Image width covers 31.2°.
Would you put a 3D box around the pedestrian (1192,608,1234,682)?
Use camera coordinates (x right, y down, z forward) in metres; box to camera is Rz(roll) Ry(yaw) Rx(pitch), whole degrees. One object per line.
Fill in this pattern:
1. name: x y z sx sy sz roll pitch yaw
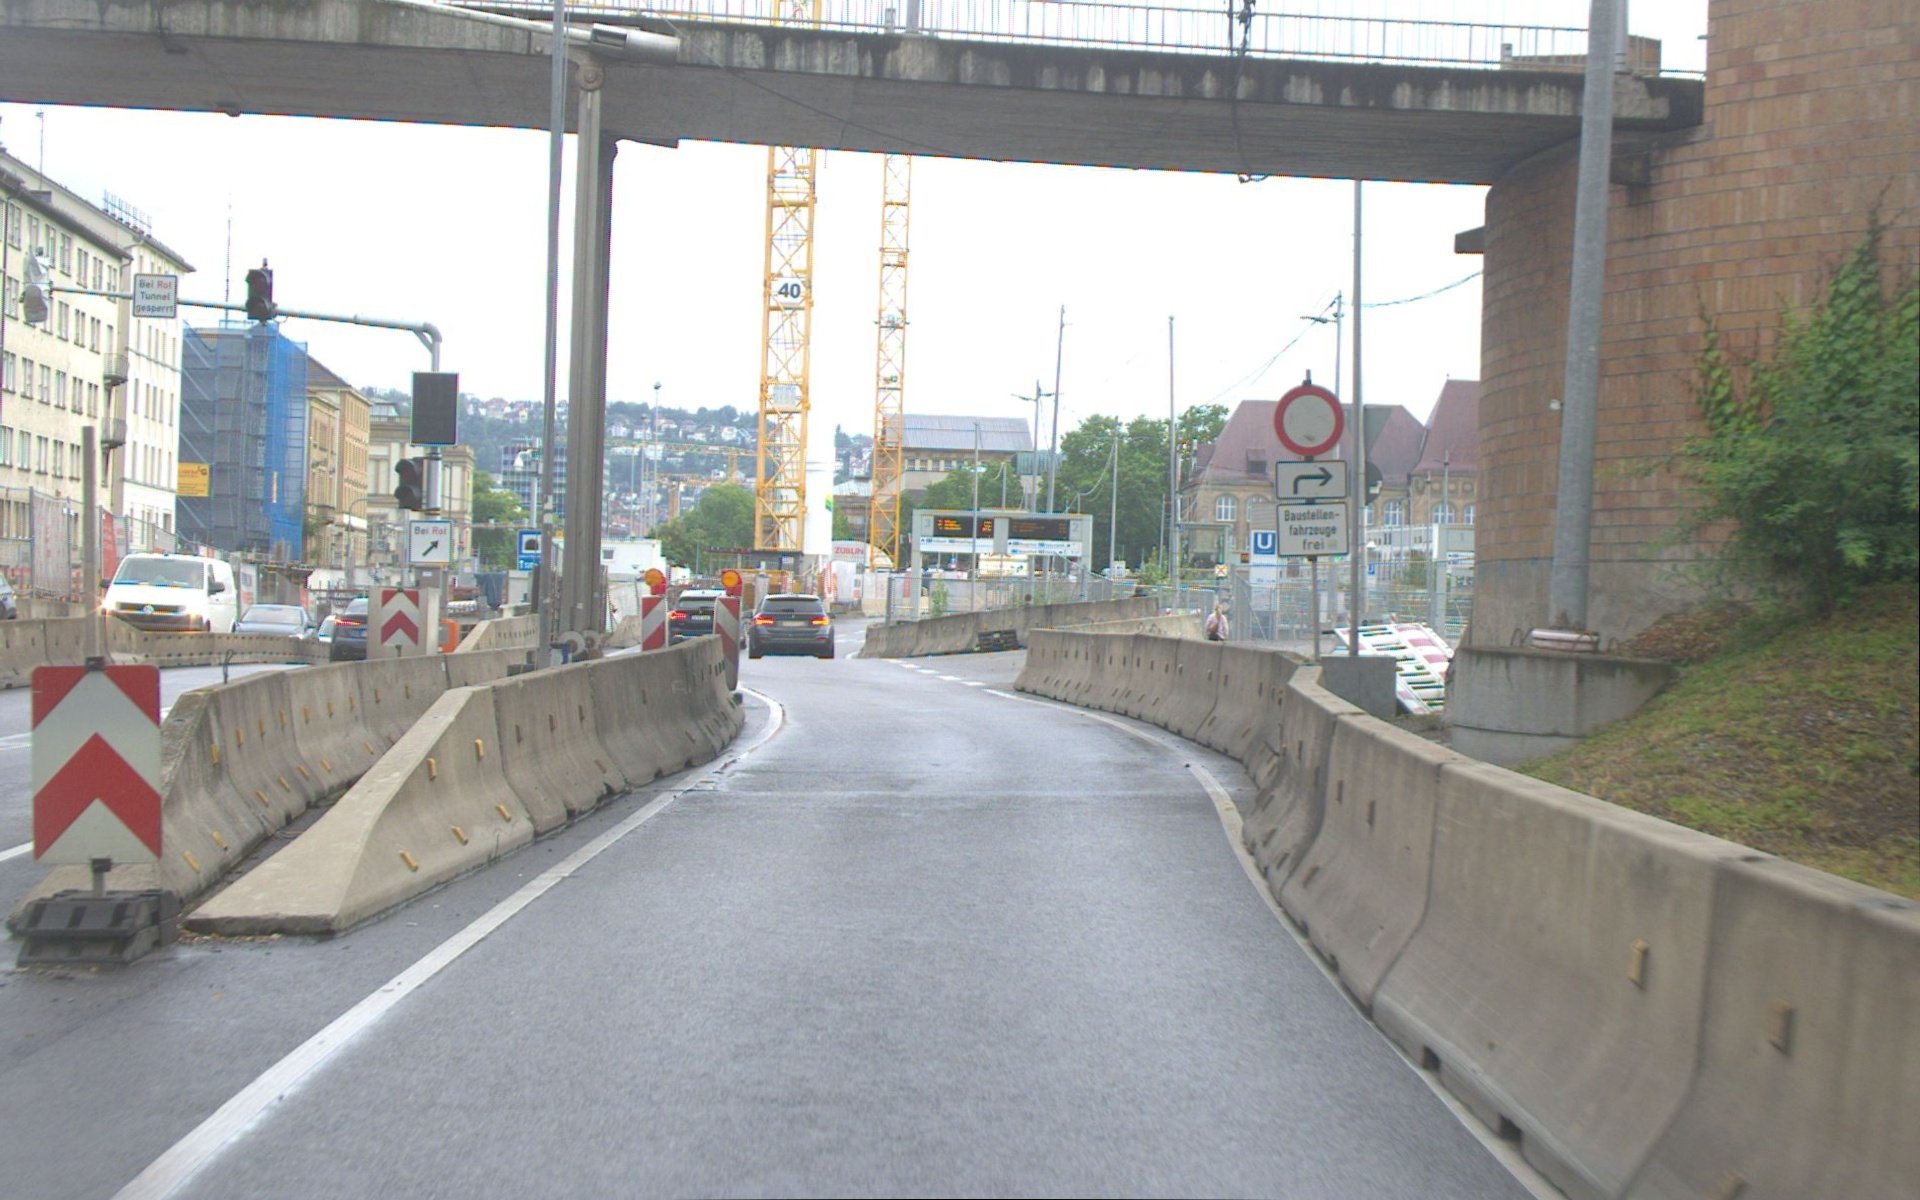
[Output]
1. pedestrian: 6.067 1.079 82.436 0.689 1.772 0.815 1 -1 -21

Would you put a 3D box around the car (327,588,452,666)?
1. car: -11.554 0.524 69.890 1.863 1.438 4.656 2 0 -2

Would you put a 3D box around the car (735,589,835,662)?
1. car: -3.805 0.521 74.052 1.862 1.428 4.657 2 0 -6

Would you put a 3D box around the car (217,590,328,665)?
1. car: -16.017 0.623 80.275 1.805 1.618 4.034 1 1 -1

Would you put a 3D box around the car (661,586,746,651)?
1. car: -6.987 0.481 94.001 1.863 1.655 4.656 2 0 1

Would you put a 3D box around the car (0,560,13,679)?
1. car: -14.023 0.296 45.739 1.805 1.617 3.903 1 1 -1

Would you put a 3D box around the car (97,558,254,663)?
1. car: -14.610 0.156 64.308 1.805 1.815 5.301 1 1 -1
